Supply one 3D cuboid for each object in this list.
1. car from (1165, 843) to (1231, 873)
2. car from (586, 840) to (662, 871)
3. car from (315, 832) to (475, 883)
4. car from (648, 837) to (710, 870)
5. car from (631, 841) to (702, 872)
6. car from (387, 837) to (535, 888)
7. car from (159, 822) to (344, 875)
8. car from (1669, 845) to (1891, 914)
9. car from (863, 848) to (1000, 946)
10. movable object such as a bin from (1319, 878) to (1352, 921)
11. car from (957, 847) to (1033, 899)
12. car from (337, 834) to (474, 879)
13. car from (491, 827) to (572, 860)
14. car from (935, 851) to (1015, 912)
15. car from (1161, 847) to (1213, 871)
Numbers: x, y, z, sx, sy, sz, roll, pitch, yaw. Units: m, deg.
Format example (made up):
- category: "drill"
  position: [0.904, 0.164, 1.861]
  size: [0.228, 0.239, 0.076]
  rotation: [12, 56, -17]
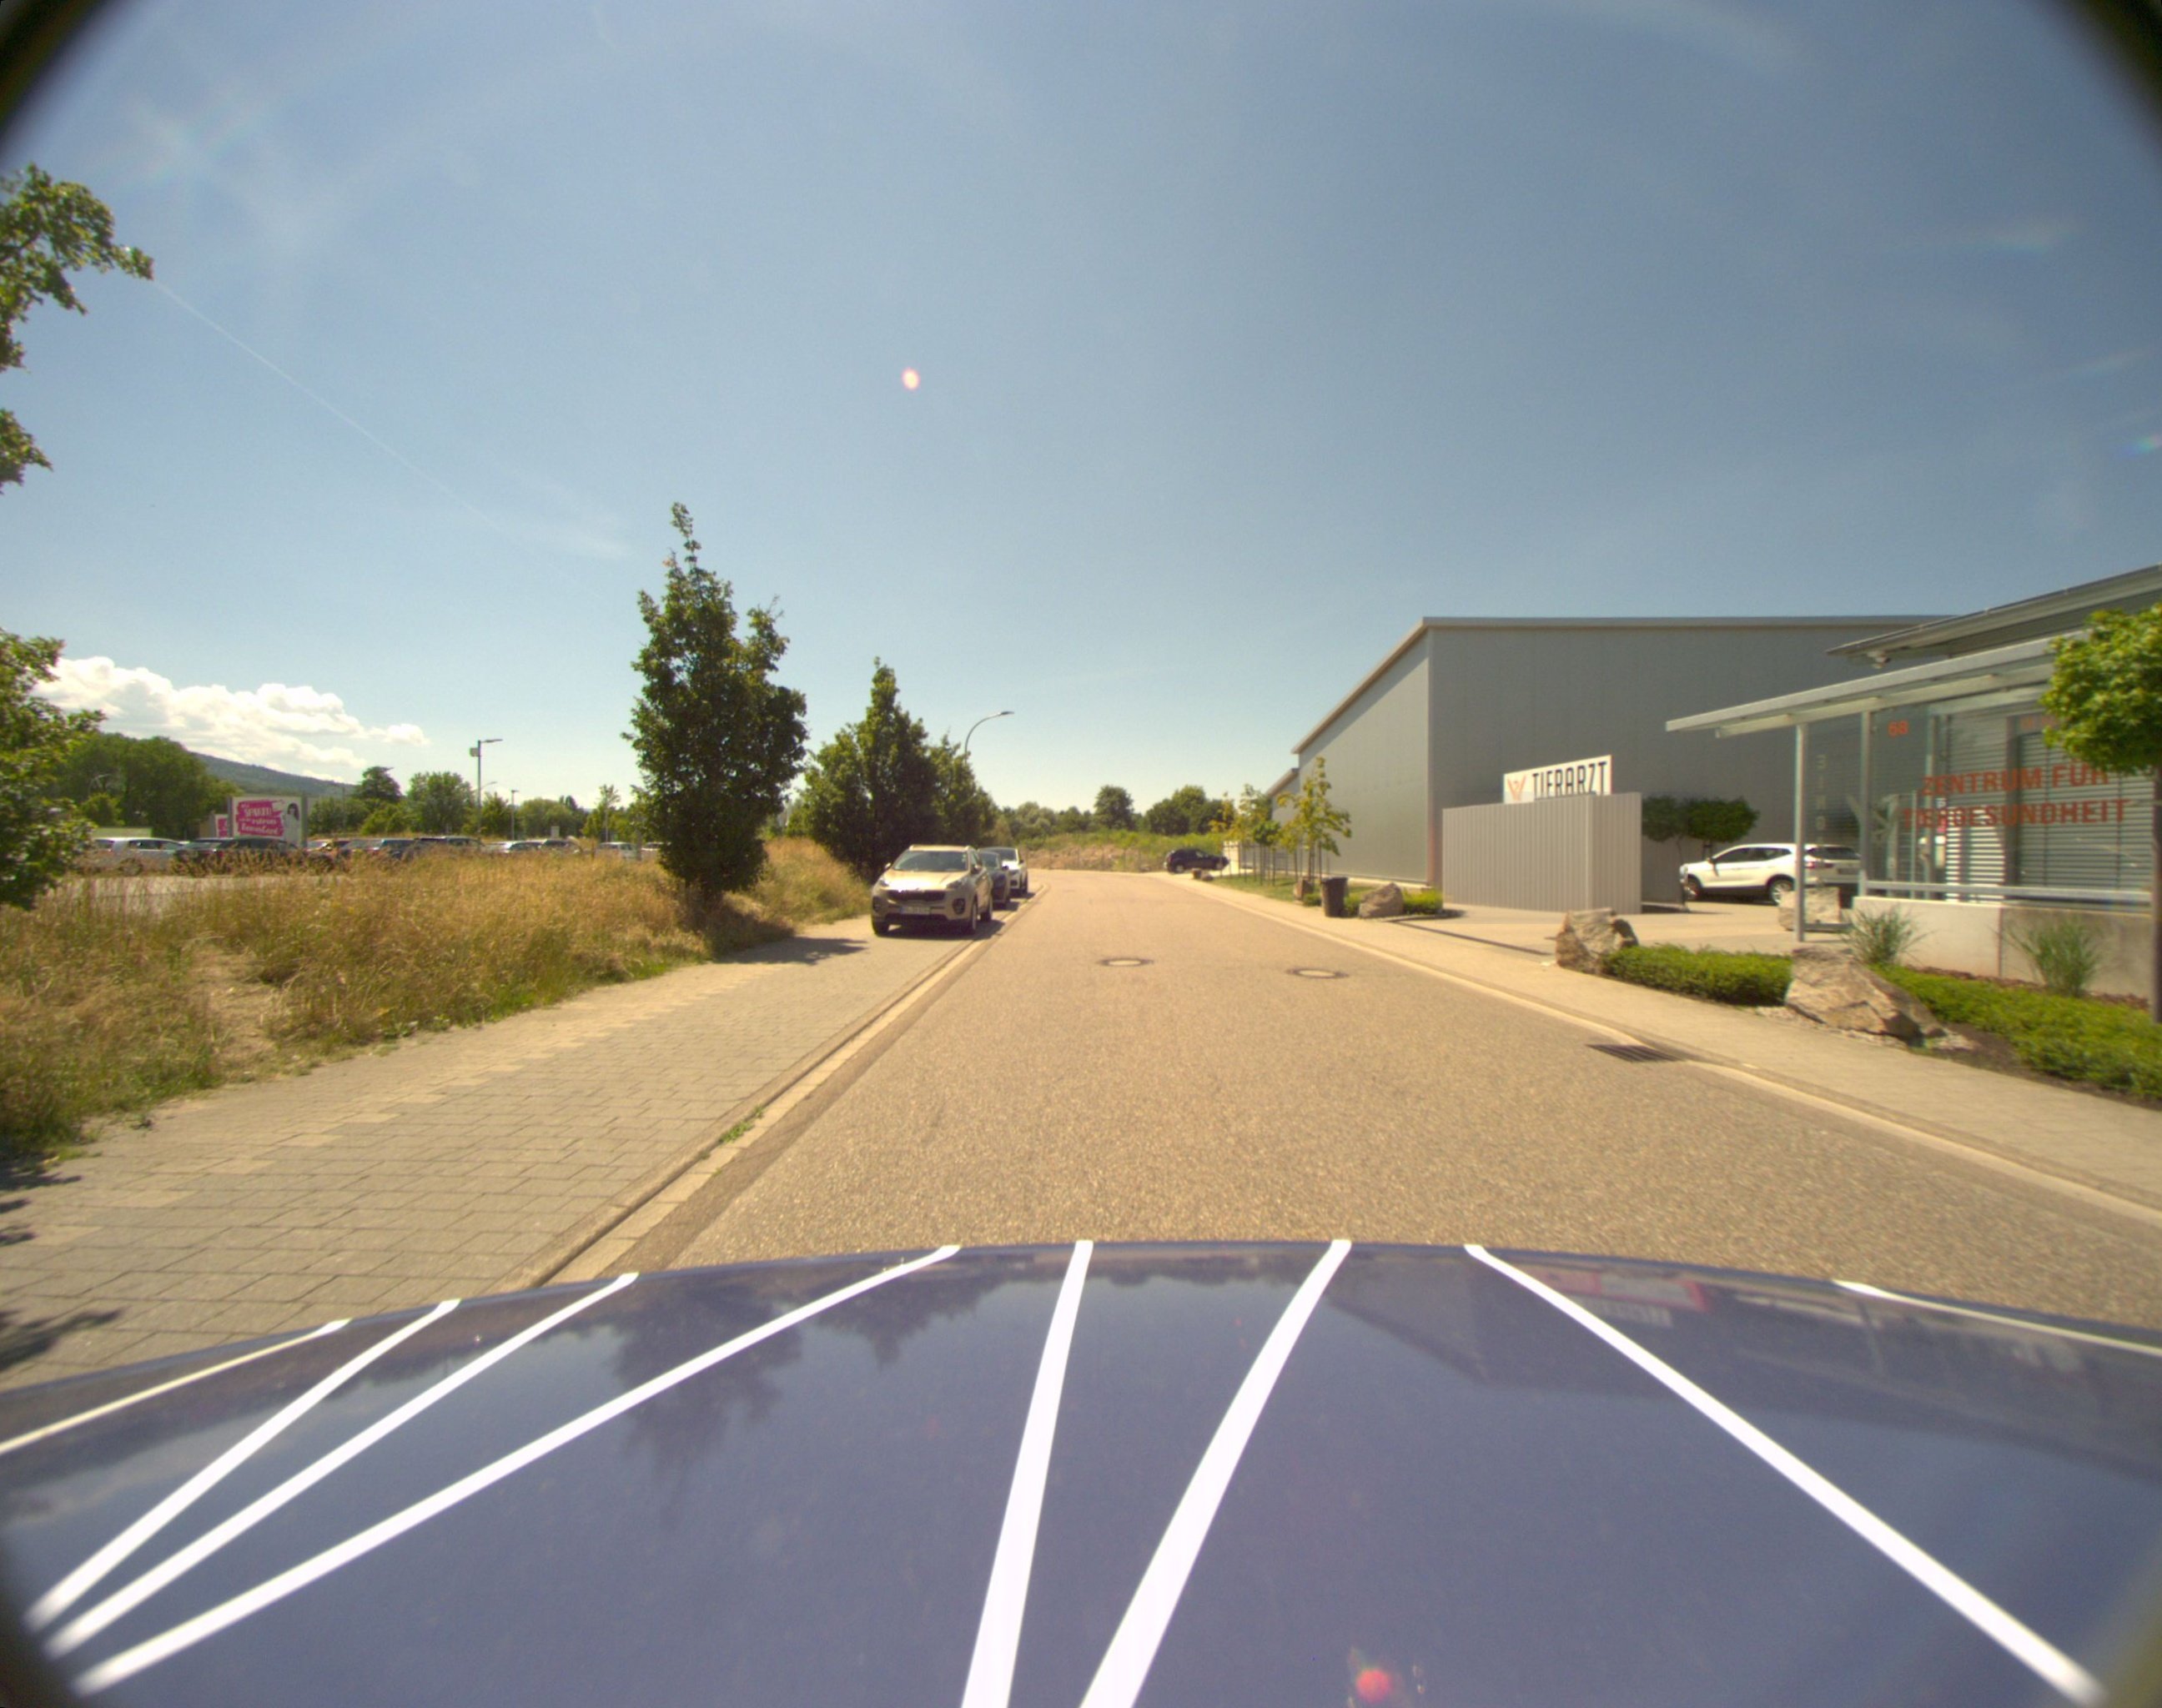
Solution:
- category: "car"
  position: [8.005, 0.266, 52.275]
  size: [4.173, 1.649, 1.781]
  rotation: [-5, 1, 0]
- category: "car"
  position: [-27.747, 0.064, 46.355]
  size: [1.937, 1.776, 4.400]
  rotation: [0, 1, 0]
- category: "car"
  position: [-25.598, 0.159, 28.590]
  size: [1.998, 1.776, 4.401]
  rotation: [1, -1, 0]
- category: "car"
  position: [-27.238, -0.094, 51.694]
  size: [1.952, 2.133, 4.399]
  rotation: [0, 1, -1]
- category: "car"
  position: [-25.111, 0.090, 46.234]
  size: [1.952, 1.776, 4.399]
  rotation: [0, 1, -1]
- category: "car"
  position: [-23.423, 0.320, 28.950]
  size: [1.998, 1.776, 4.401]
  rotation: [1, -1, 0]
- category: "car"
  position: [-30.420, -0.145, 28.119]
  size: [1.998, 1.776, 4.401]
  rotation: [1, -1, 0]
- category: "car"
  position: [17.921, 0.594, 19.778]
  size: [1.912, 1.575, 3.998]
  rotation: [-1, 0, -5]
- category: "car"
  position: [-2.795, 0.725, 15.200]
  size: [1.809, 1.626, 4.457]
  rotation: [2, 1, 0]
- category: "movable object such as a bin"
  position: [5.868, 1.050, 17.551]
  size: [0.572, 0.944, 0.512]
  rotation: [-1, 1, -5]
- category: "car"
  position: [-3.020, 0.624, 27.710]
  size: [2.149, 1.689, 4.784]
  rotation: [2, 1, 0]
- category: "car"
  position: [-29.304, 0.147, 33.180]
  size: [1.998, 1.839, 4.401]
  rotation: [1, -1, 0]
- category: "car"
  position: [-38.766, -0.745, 53.765]
  size: [1.998, 2.230, 4.752]
  rotation: [1, 1, 4]
- category: "car"
  position: [-2.962, 0.718, 22.118]
  size: [1.909, 1.520, 4.628]
  rotation: [2, 1, -3]
- category: "car"
  position: [7.650, 0.331, 54.830]
  size: [3.369, 1.453, 1.781]
  rotation: [-5, 1, -2]
